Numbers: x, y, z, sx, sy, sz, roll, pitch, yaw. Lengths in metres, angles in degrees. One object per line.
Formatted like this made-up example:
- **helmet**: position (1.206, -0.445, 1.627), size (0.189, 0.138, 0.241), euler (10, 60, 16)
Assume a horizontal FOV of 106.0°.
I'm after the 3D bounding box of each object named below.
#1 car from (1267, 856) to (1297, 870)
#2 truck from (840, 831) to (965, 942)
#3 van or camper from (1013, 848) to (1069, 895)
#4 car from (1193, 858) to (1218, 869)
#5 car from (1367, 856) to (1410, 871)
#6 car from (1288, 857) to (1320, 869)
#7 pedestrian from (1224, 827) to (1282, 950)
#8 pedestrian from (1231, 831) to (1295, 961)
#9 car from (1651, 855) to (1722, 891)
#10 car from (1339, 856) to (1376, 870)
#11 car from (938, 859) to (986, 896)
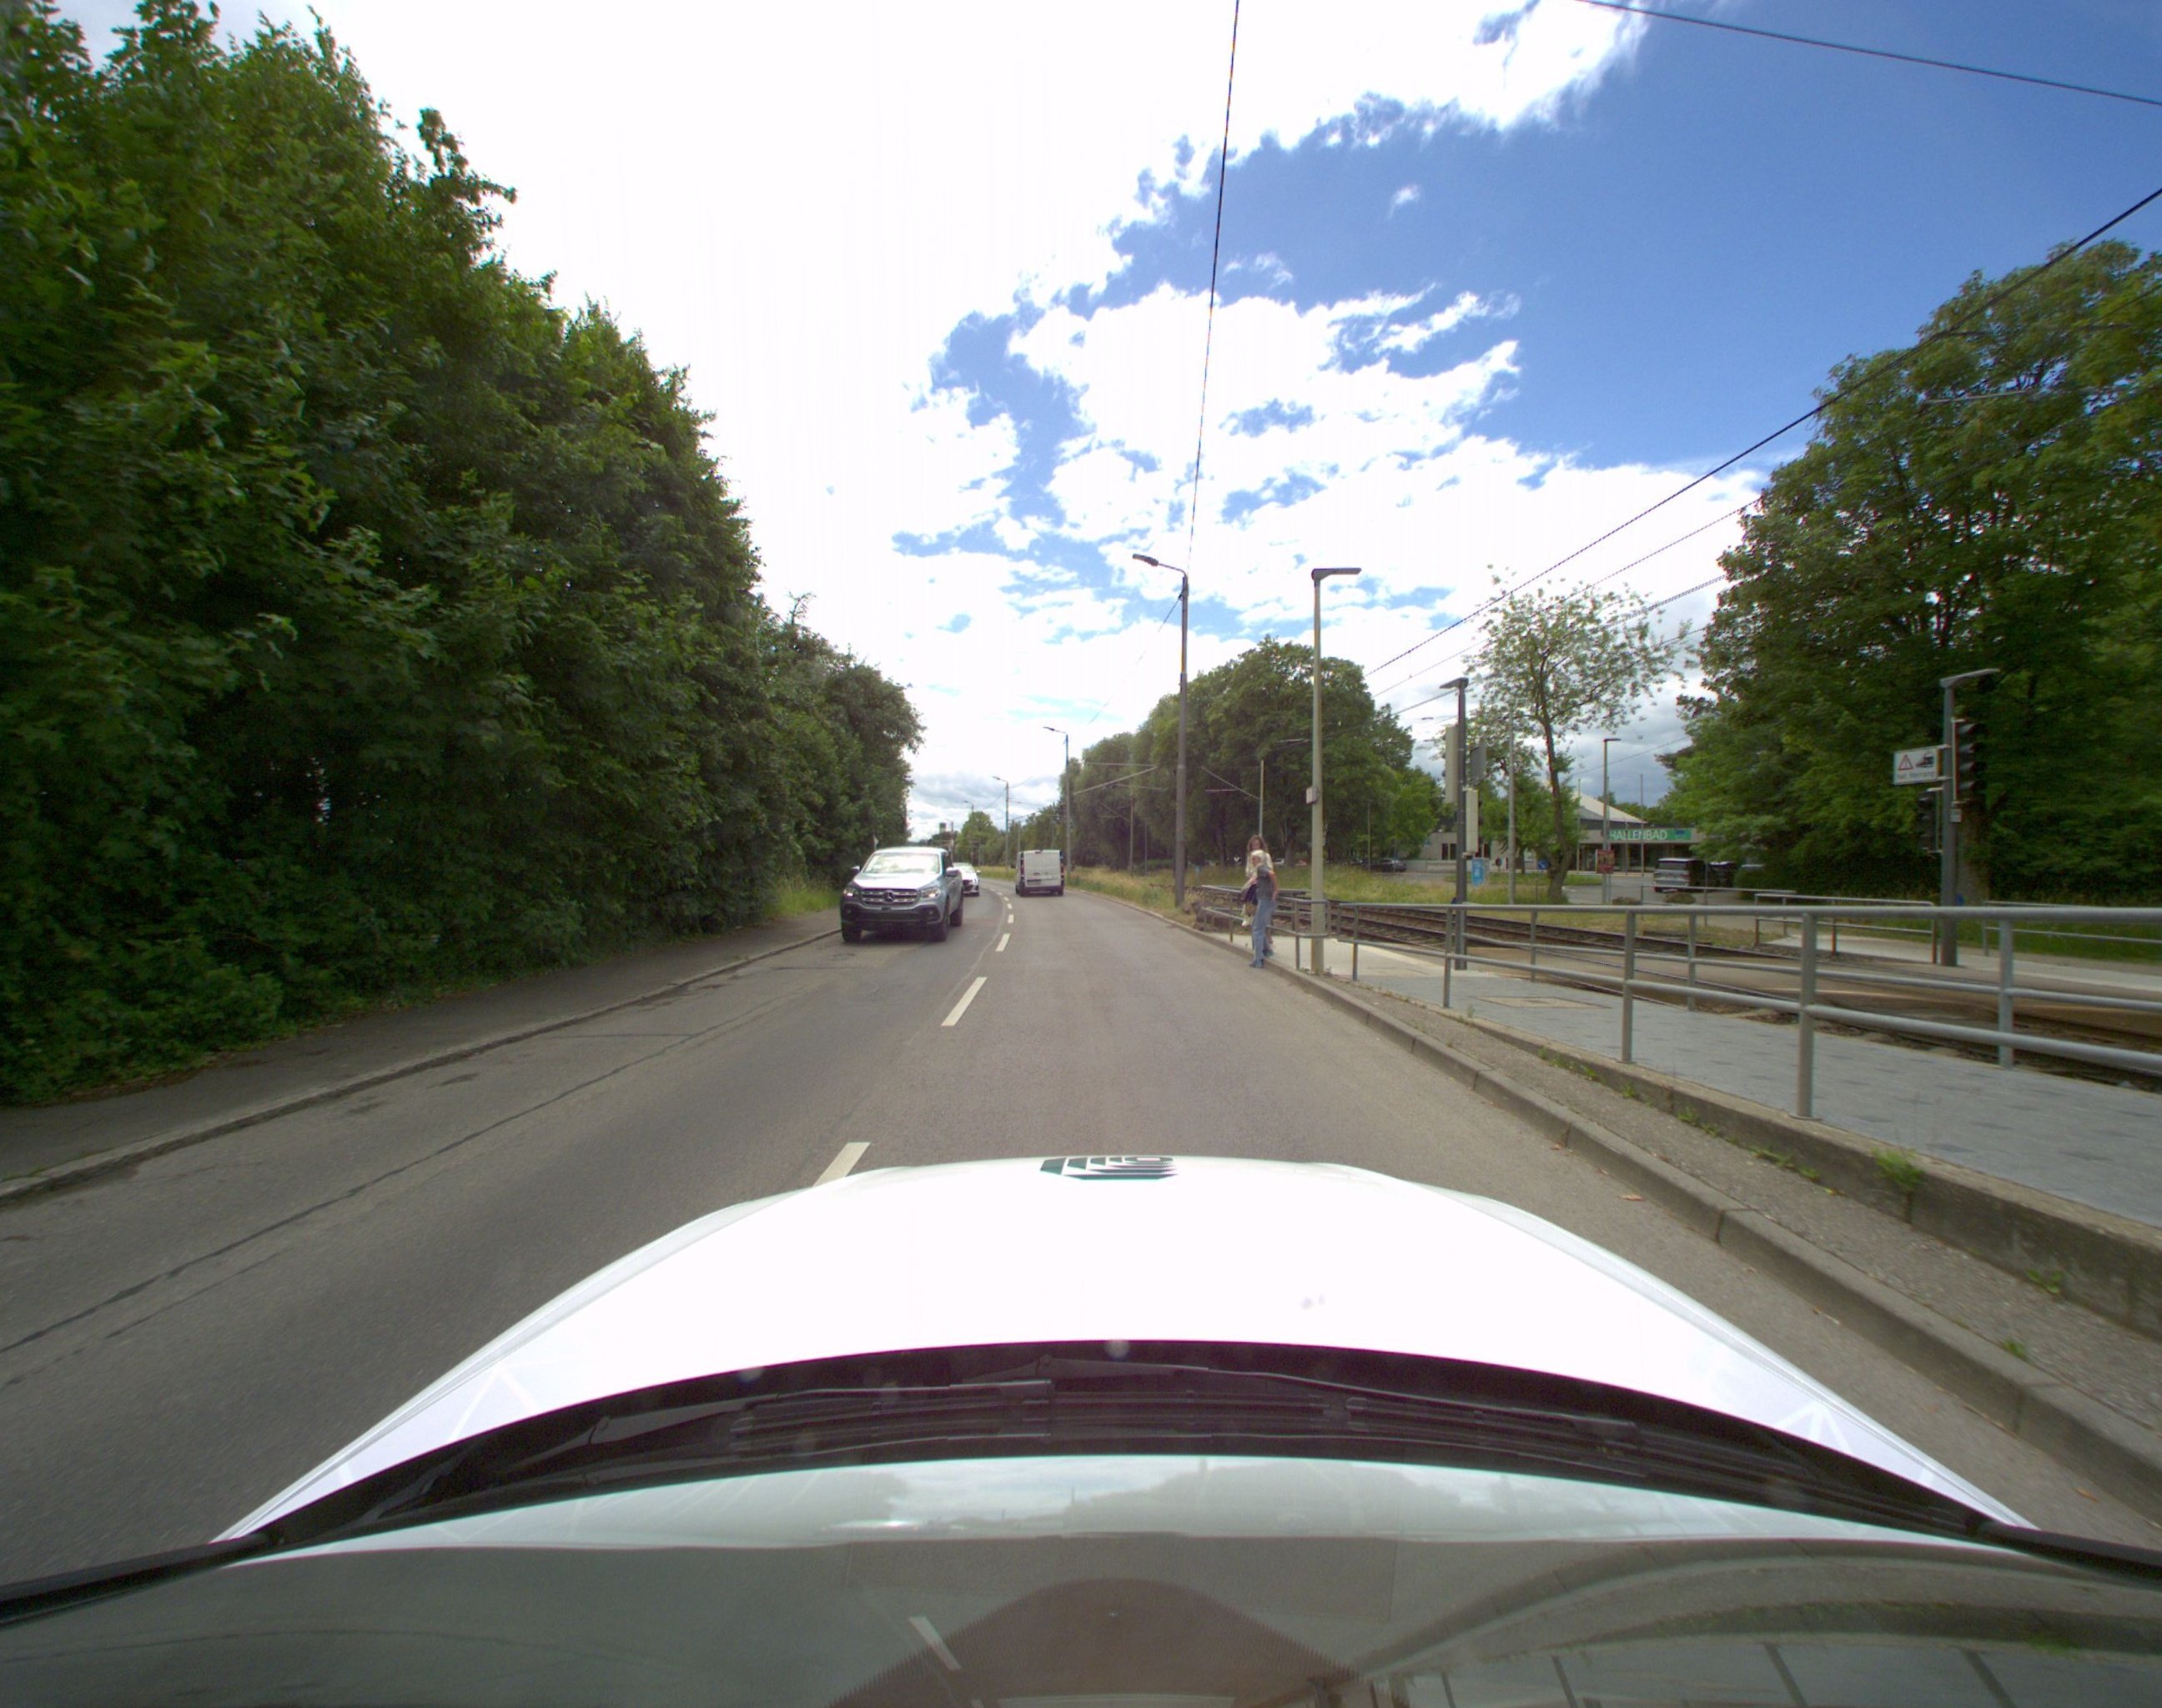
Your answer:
- **car**: position (25.415, 1.156, 103.256), size (1.995, 1.700, 4.210), euler (1, -1, -13)
- **truck**: position (-3.518, 0.590, 16.918), size (1.845, 1.966, 4.950), euler (0, 0, -4)
- **van or camper**: position (-1.830, 0.742, 35.851), size (1.942, 1.897, 4.270), euler (-1, -1, -9)
- **car**: position (21.969, 1.661, 143.565), size (2.010, 1.812, 3.954), euler (1, -1, -39)
- **car**: position (30.582, 0.909, 81.149), size (1.996, 1.443, 4.326), euler (0, -1, -13)
- **car**: position (26.680, 1.067, 97.606), size (1.996, 1.443, 3.982), euler (0, -1, -13)
- **pedestrian**: position (2.645, 0.534, 12.557), size (0.661, 1.840, 0.592), euler (2, -3, -24)
- **pedestrian**: position (2.519, 0.579, 11.303), size (0.476, 1.729, 0.793), euler (2, -3, -25)
- **car**: position (33.262, 0.998, 44.686), size (4.735, 1.861, 1.896), euler (0, -1, -37)
- **car**: position (29.306, 0.941, 86.425), size (1.996, 1.443, 3.982), euler (0, -1, -13)
- **car**: position (-5.484, 1.061, 37.997), size (1.927, 1.522, 4.649), euler (-2, 0, -6)
